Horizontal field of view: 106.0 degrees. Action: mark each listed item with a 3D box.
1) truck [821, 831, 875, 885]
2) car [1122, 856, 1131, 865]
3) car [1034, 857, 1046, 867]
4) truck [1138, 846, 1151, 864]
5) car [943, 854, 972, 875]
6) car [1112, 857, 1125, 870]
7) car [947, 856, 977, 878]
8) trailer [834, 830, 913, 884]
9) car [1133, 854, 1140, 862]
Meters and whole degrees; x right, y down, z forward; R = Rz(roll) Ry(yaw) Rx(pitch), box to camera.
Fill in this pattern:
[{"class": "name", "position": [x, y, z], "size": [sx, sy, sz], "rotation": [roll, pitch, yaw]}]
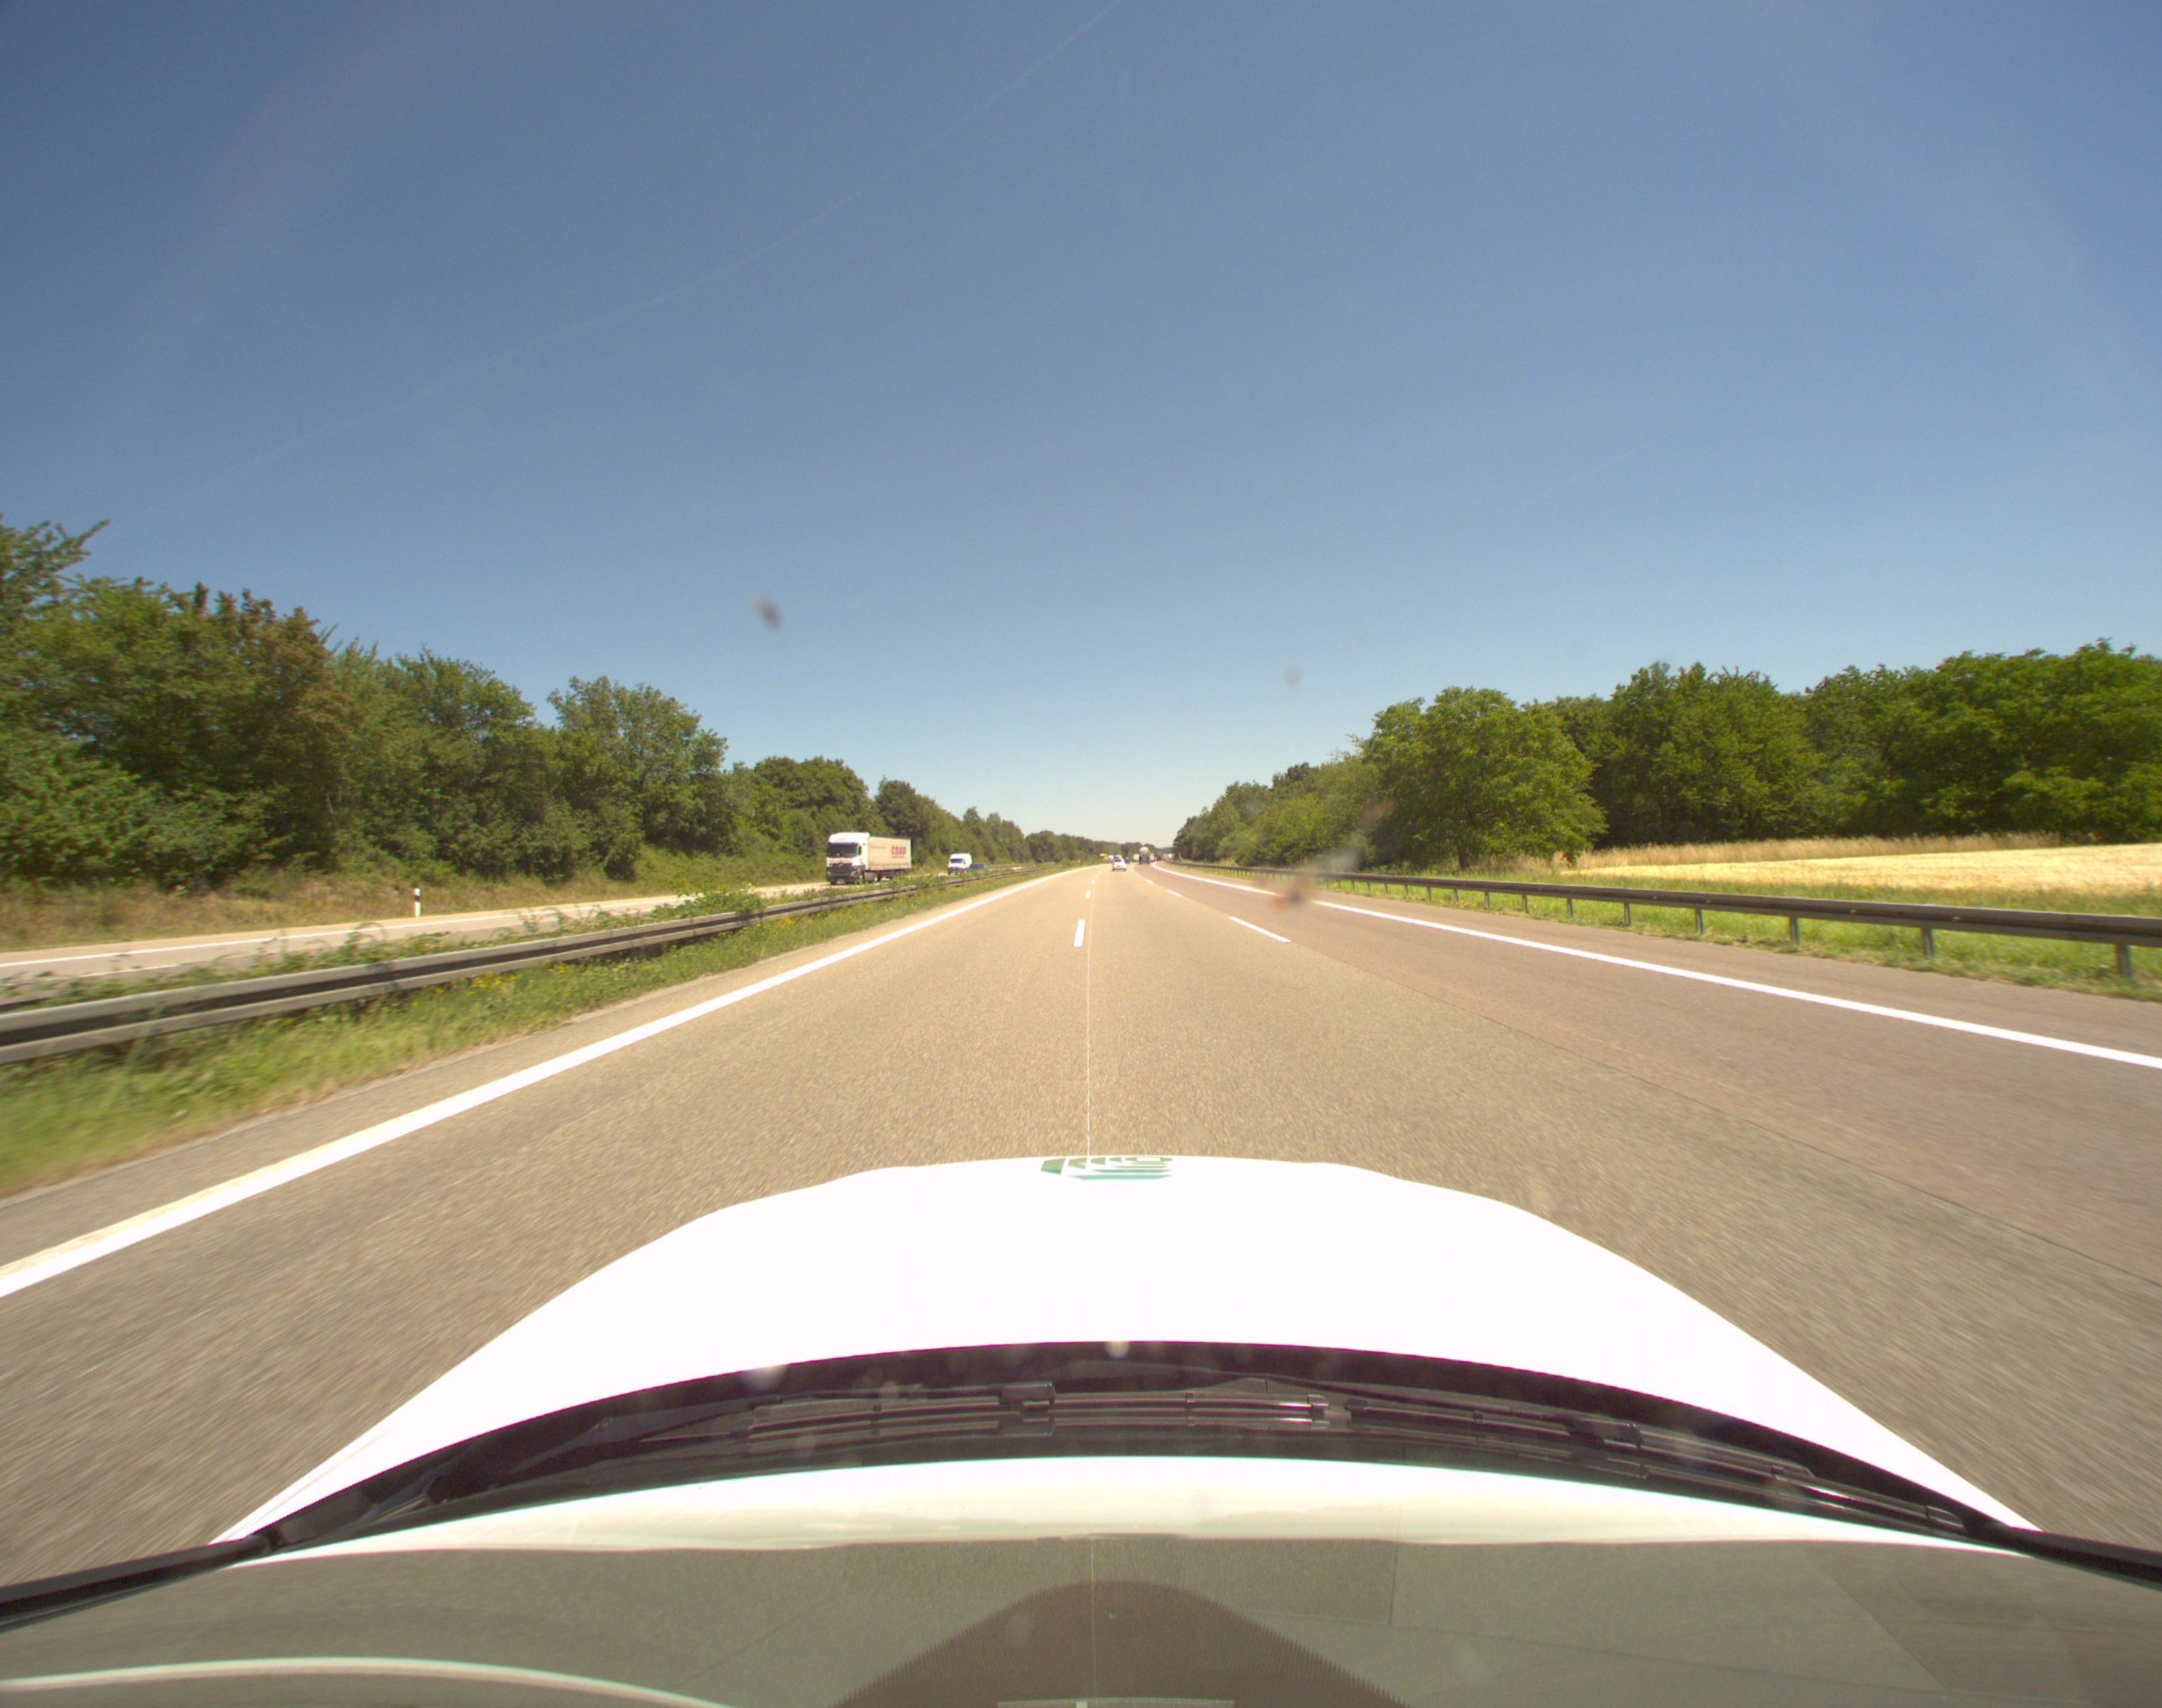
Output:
[{"class": "truck", "position": [-17.995, 0.324, 63.196], "size": [2.692, 3.965, 4.445], "rotation": [-2, -1, 2]}, {"class": "car", "position": [11.325, 1.630, 203.238], "size": [1.983, 2.013, 4.007], "rotation": [-2, 0, 6]}, {"class": "car", "position": [-7.915, 1.615, 158.619], "size": [1.819, 1.906, 4.958], "rotation": [-1, 0, 2]}, {"class": "truck", "position": [14.925, 0.248, 191.647], "size": [2.726, 4.052, 10.468], "rotation": [-2, -1, 5]}, {"class": "car", "position": [-15.898, 1.324, 105.511], "size": [2.220, 2.576, 7.395], "rotation": [-2, 0, 2]}, {"class": "car", "position": [4.648, 1.179, 100.962], "size": [1.621, 1.479, 4.002], "rotation": [-2, -1, 2]}, {"class": "car", "position": [-11.124, 1.188, 76.437], "size": [1.986, 1.861, 4.957], "rotation": [-2, 0, 1]}, {"class": "trailer", "position": [-17.676, 0.283, 70.614], "size": [2.695, 4.184, 13.567], "rotation": [-2, 0, 3]}, {"class": "car", "position": [17.544, 1.217, 257.202], "size": [1.984, 2.343, 4.392], "rotation": [-1, 0, 4]}]
